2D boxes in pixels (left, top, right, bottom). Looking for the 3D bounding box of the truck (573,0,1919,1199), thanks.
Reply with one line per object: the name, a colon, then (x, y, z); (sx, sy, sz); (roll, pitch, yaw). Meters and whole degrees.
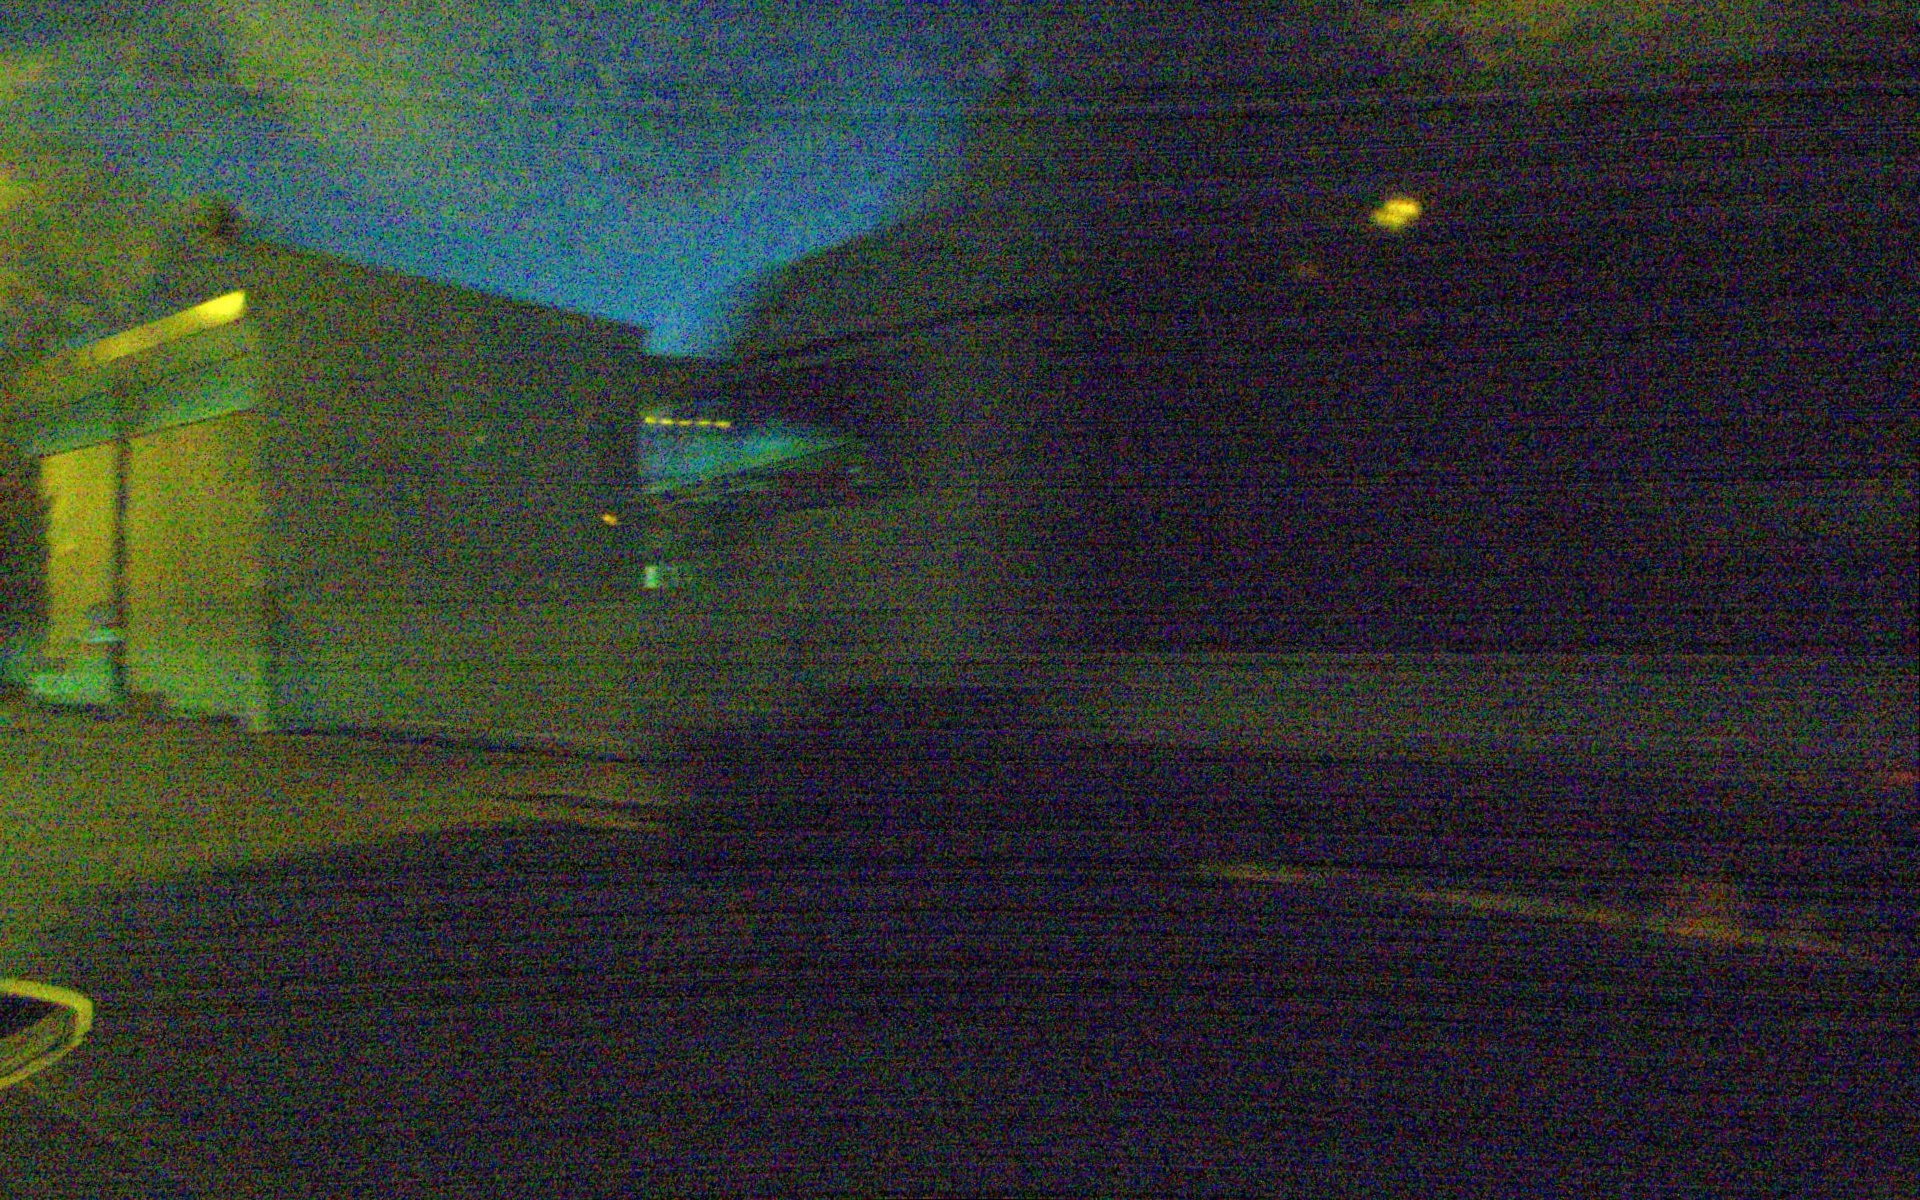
truck: (3.141, -0.559, 3.066); (10.202, 4.034, 2.823); (-2, -2, 34)
